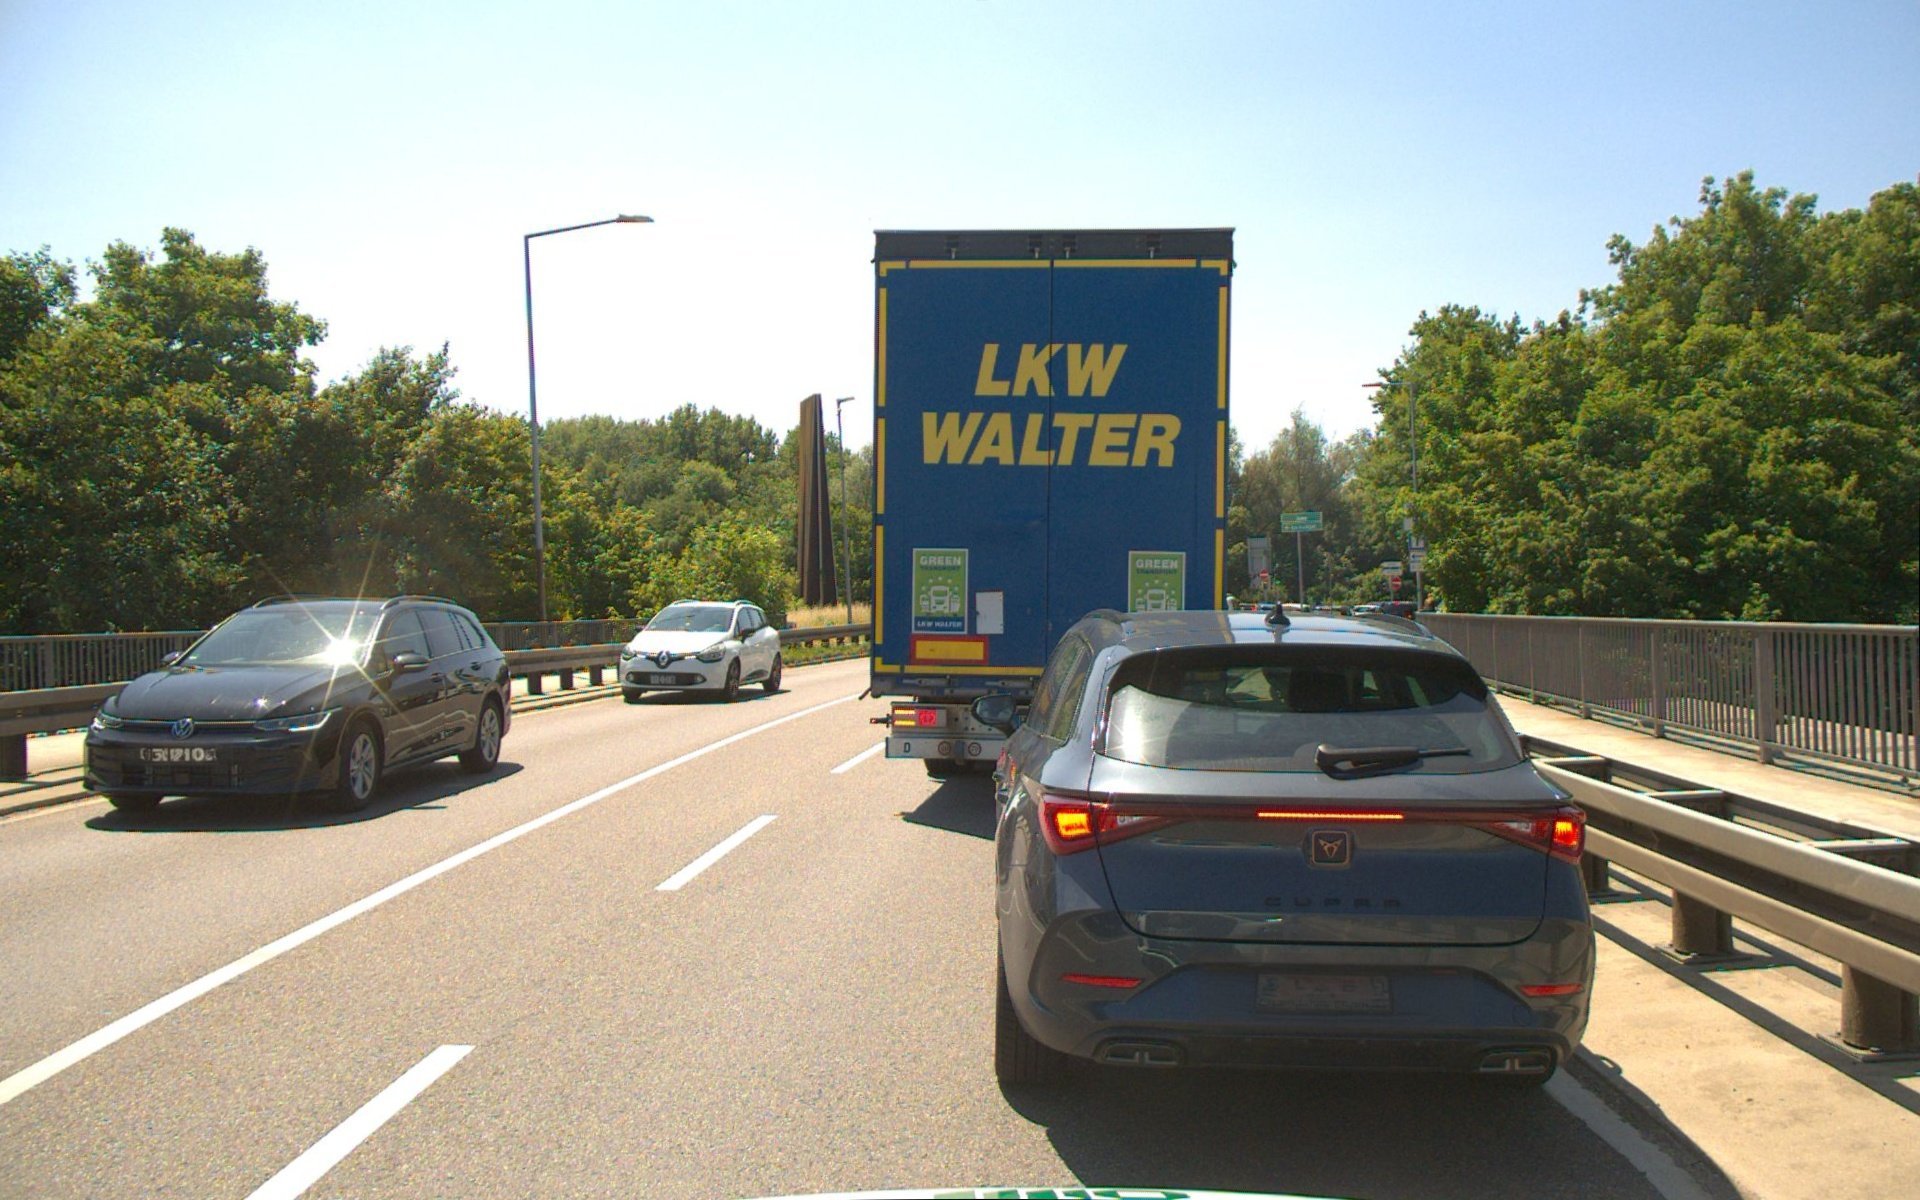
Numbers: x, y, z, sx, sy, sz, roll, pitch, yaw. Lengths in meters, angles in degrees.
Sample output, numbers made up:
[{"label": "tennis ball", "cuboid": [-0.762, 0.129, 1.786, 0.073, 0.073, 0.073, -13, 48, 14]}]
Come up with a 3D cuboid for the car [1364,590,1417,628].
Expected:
[{"label": "car", "cuboid": [21.005, 0.452, 80.659, 1.653, 1.791, 3.995, 0, -1, 28]}]

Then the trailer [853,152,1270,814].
[{"label": "trailer", "cuboid": [1.417, -0.835, 17.573, 2.843, 4.496, 12.442, 0, 0, 7]}]

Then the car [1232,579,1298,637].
[{"label": "car", "cuboid": [10.281, 0.242, 55.551, 1.685, 1.876, 4.002, 0, 0, 18]}]

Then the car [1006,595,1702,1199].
[{"label": "car", "cuboid": [0.988, 0.728, 5.911, 1.642, 1.481, 3.959, 0, 0, 1]}]

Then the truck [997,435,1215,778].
[{"label": "truck", "cuboid": [2.313, 0.060, 25.064, 2.843, 4.496, 6.560, 0, 0, 7]}]

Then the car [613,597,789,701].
[{"label": "car", "cuboid": [-3.932, 0.701, 25.743, 1.565, 1.474, 4.059, 0, 0, 9]}]

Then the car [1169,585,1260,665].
[{"label": "car", "cuboid": [6.369, 0.564, 41.066, 1.684, 1.876, 4.002, 0, 1, 17]}]

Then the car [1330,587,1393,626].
[{"label": "car", "cuboid": [18.163, 0.323, 74.671, 1.954, 1.603, 3.996, 2, -1, 26]}]

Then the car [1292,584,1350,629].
[{"label": "car", "cuboid": [14.936, 0.268, 68.359, 1.651, 1.791, 3.999, 0, -1, 22]}]

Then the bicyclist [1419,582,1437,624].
[{"label": "bicyclist", "cuboid": [19.499, 0.105, 68.862, 0.565, 1.712, 0.730, -3, 0, 9]}]

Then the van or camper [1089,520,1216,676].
[{"label": "van or camper", "cuboid": [4.034, -0.054, 33.657, 2.108, 2.865, 6.393, 0, 0, 11]}]

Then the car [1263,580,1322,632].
[{"label": "car", "cuboid": [12.428, 0.198, 61.670, 1.685, 1.876, 4.002, 0, 0, 18]}]

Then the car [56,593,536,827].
[{"label": "car", "cuboid": [-4.838, 0.698, 12.836, 1.674, 1.494, 4.462, 0, 0, 4]}]

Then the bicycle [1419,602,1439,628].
[{"label": "bicycle", "cuboid": [19.522, 0.604, 68.837, 0.569, 1.053, 1.486, -3, 0, 9]}]

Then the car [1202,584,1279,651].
[{"label": "car", "cuboid": [8.074, 0.461, 47.410, 1.684, 1.834, 4.002, 0, 0, 17]}]
